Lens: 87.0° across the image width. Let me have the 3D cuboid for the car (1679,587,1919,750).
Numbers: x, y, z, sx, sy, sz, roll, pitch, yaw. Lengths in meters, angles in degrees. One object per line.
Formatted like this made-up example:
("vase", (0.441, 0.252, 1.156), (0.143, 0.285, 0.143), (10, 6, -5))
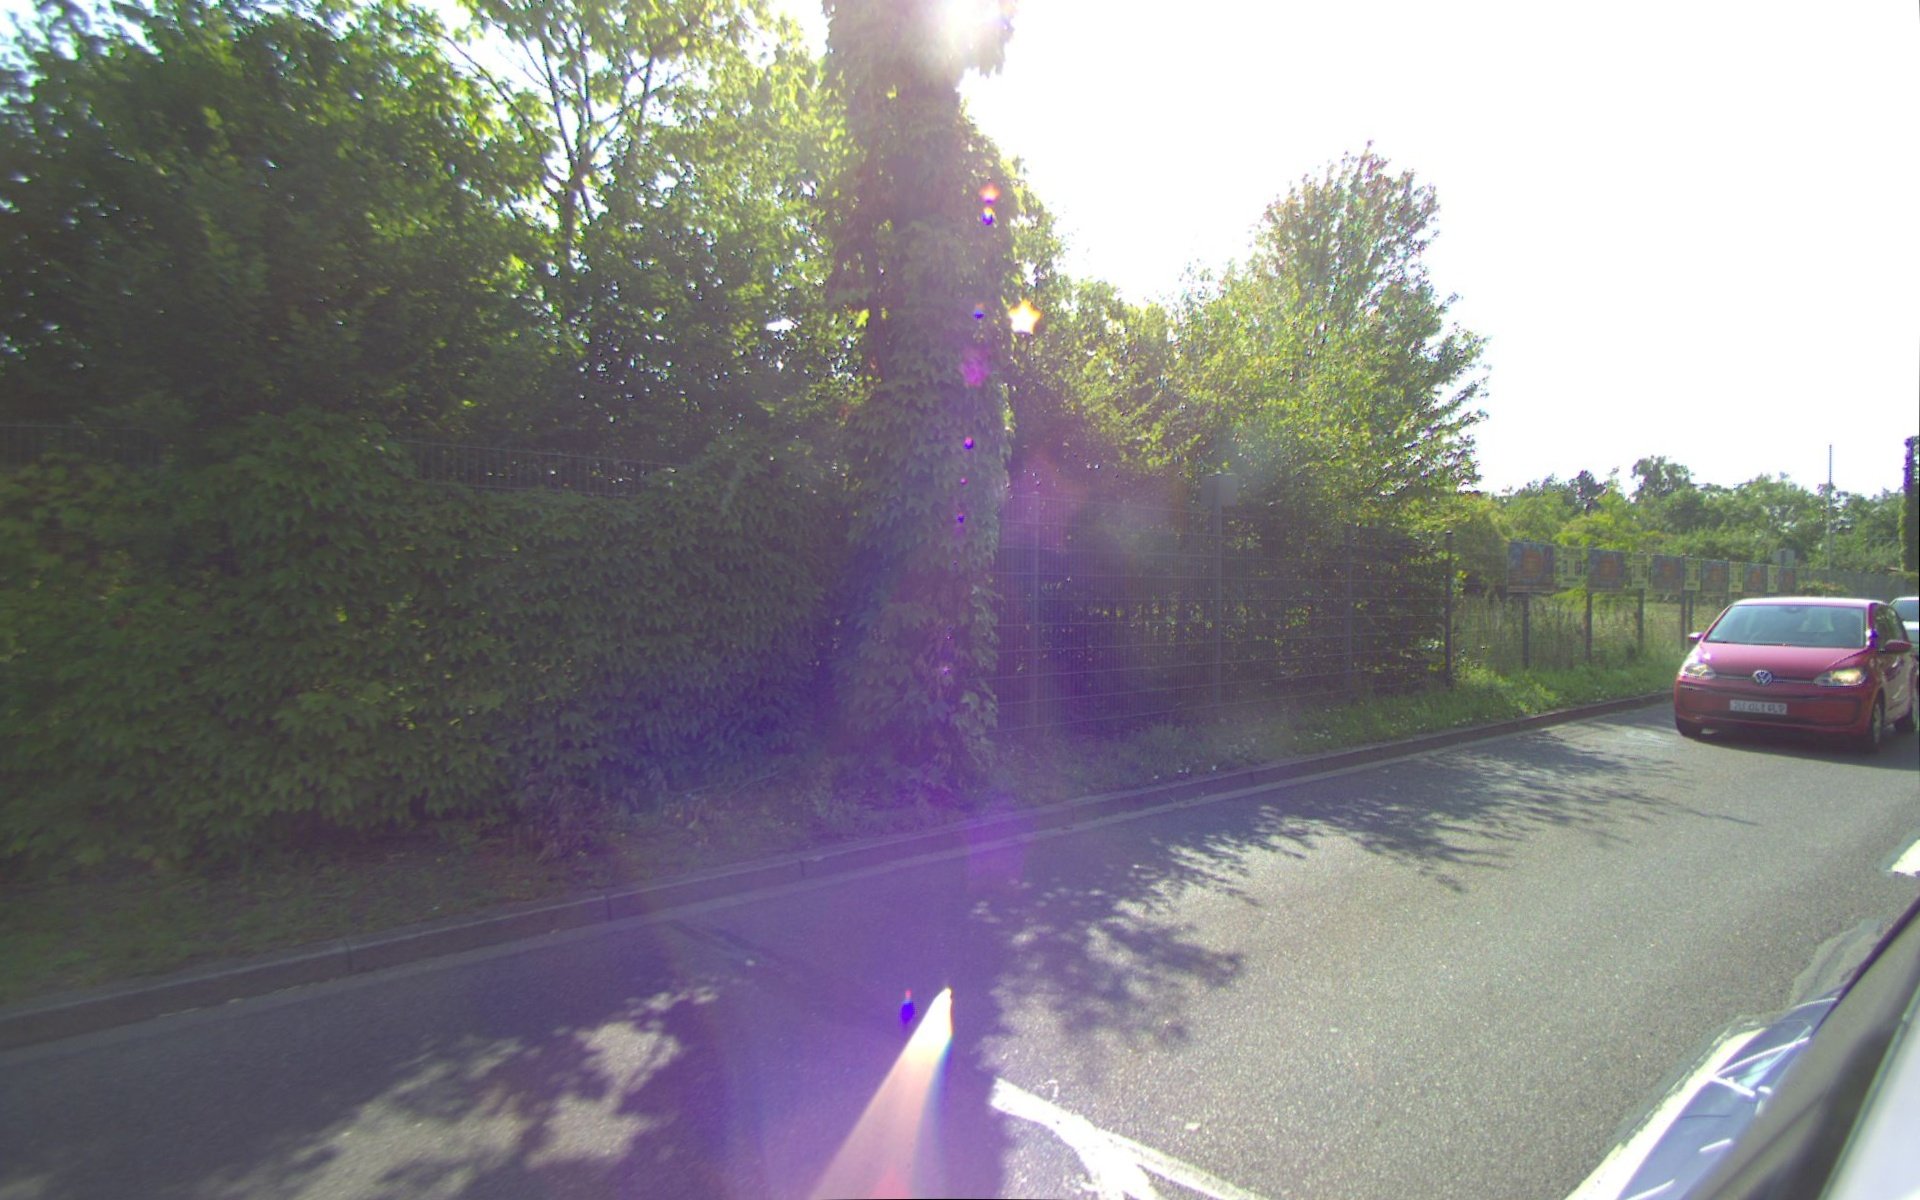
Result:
("car", (9.168, 0.601, 10.855), (3.411, 1.416, 1.578), (-1, 2, -40))

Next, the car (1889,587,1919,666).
("car", (19.917, 0.488, 20.203), (3.832, 1.494, 1.647), (-1, 1, -42))
